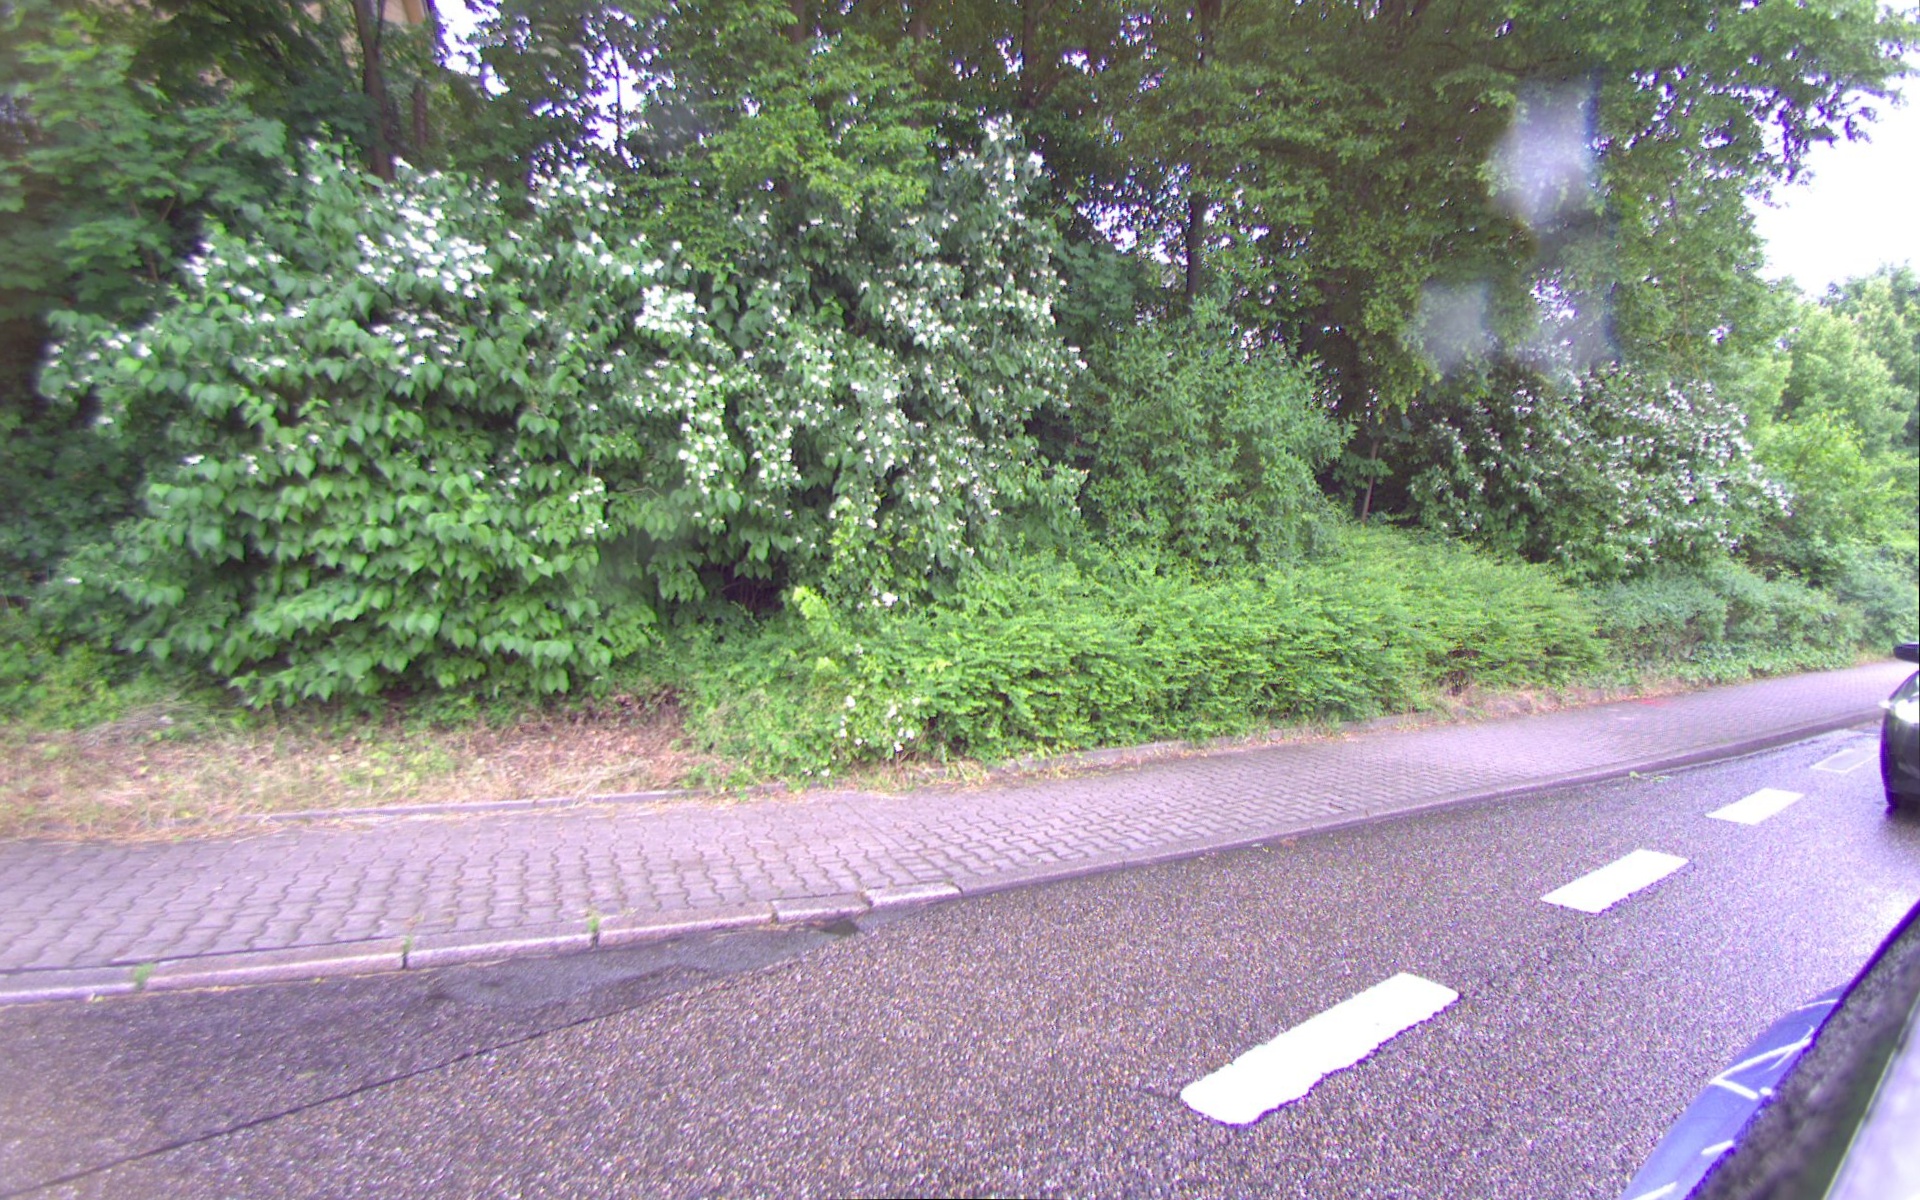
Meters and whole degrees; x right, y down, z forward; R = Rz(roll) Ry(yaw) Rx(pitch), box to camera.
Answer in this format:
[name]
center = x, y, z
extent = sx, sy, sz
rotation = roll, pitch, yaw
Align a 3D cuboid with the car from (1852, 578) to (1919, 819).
[car]
center = 8.169, 0.658, 7.116
extent = 4.118, 1.524, 1.875
rotation = 0, 4, -35
